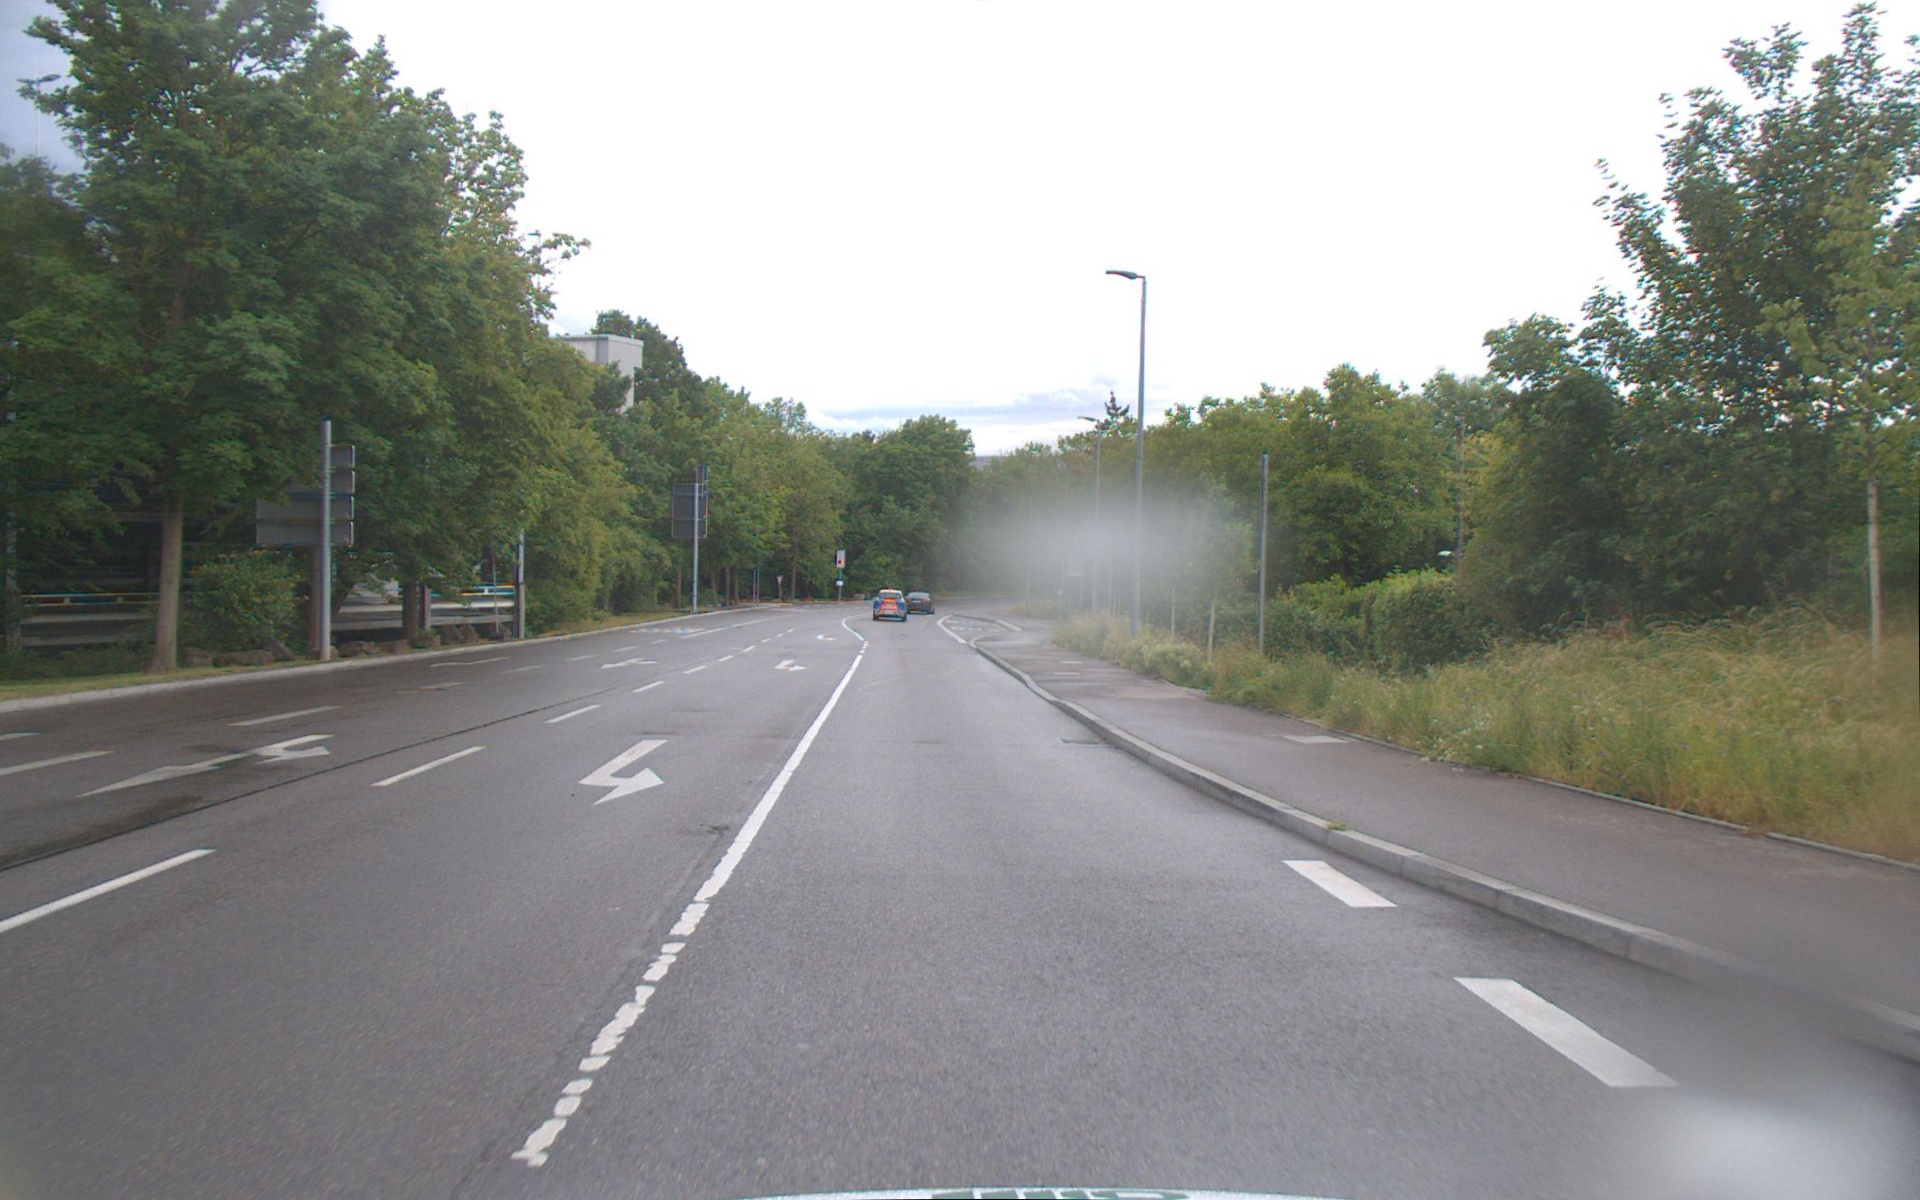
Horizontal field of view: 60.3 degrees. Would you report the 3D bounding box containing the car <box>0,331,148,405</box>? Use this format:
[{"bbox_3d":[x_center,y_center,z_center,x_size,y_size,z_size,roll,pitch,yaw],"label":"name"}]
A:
[{"bbox_3d":[-22.164,-5.684,40.636,3.910,1.545,1.998,4,2,26],"label":"car"}]

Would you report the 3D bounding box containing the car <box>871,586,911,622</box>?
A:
[{"bbox_3d":[-3.543,0.186,85.618,1.953,1.718,4.000,0,2,-1],"label":"car"}]

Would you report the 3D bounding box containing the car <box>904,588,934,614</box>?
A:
[{"bbox_3d":[-2.591,0.035,105.673,1.888,1.512,3.800,0,2,-1],"label":"car"}]
